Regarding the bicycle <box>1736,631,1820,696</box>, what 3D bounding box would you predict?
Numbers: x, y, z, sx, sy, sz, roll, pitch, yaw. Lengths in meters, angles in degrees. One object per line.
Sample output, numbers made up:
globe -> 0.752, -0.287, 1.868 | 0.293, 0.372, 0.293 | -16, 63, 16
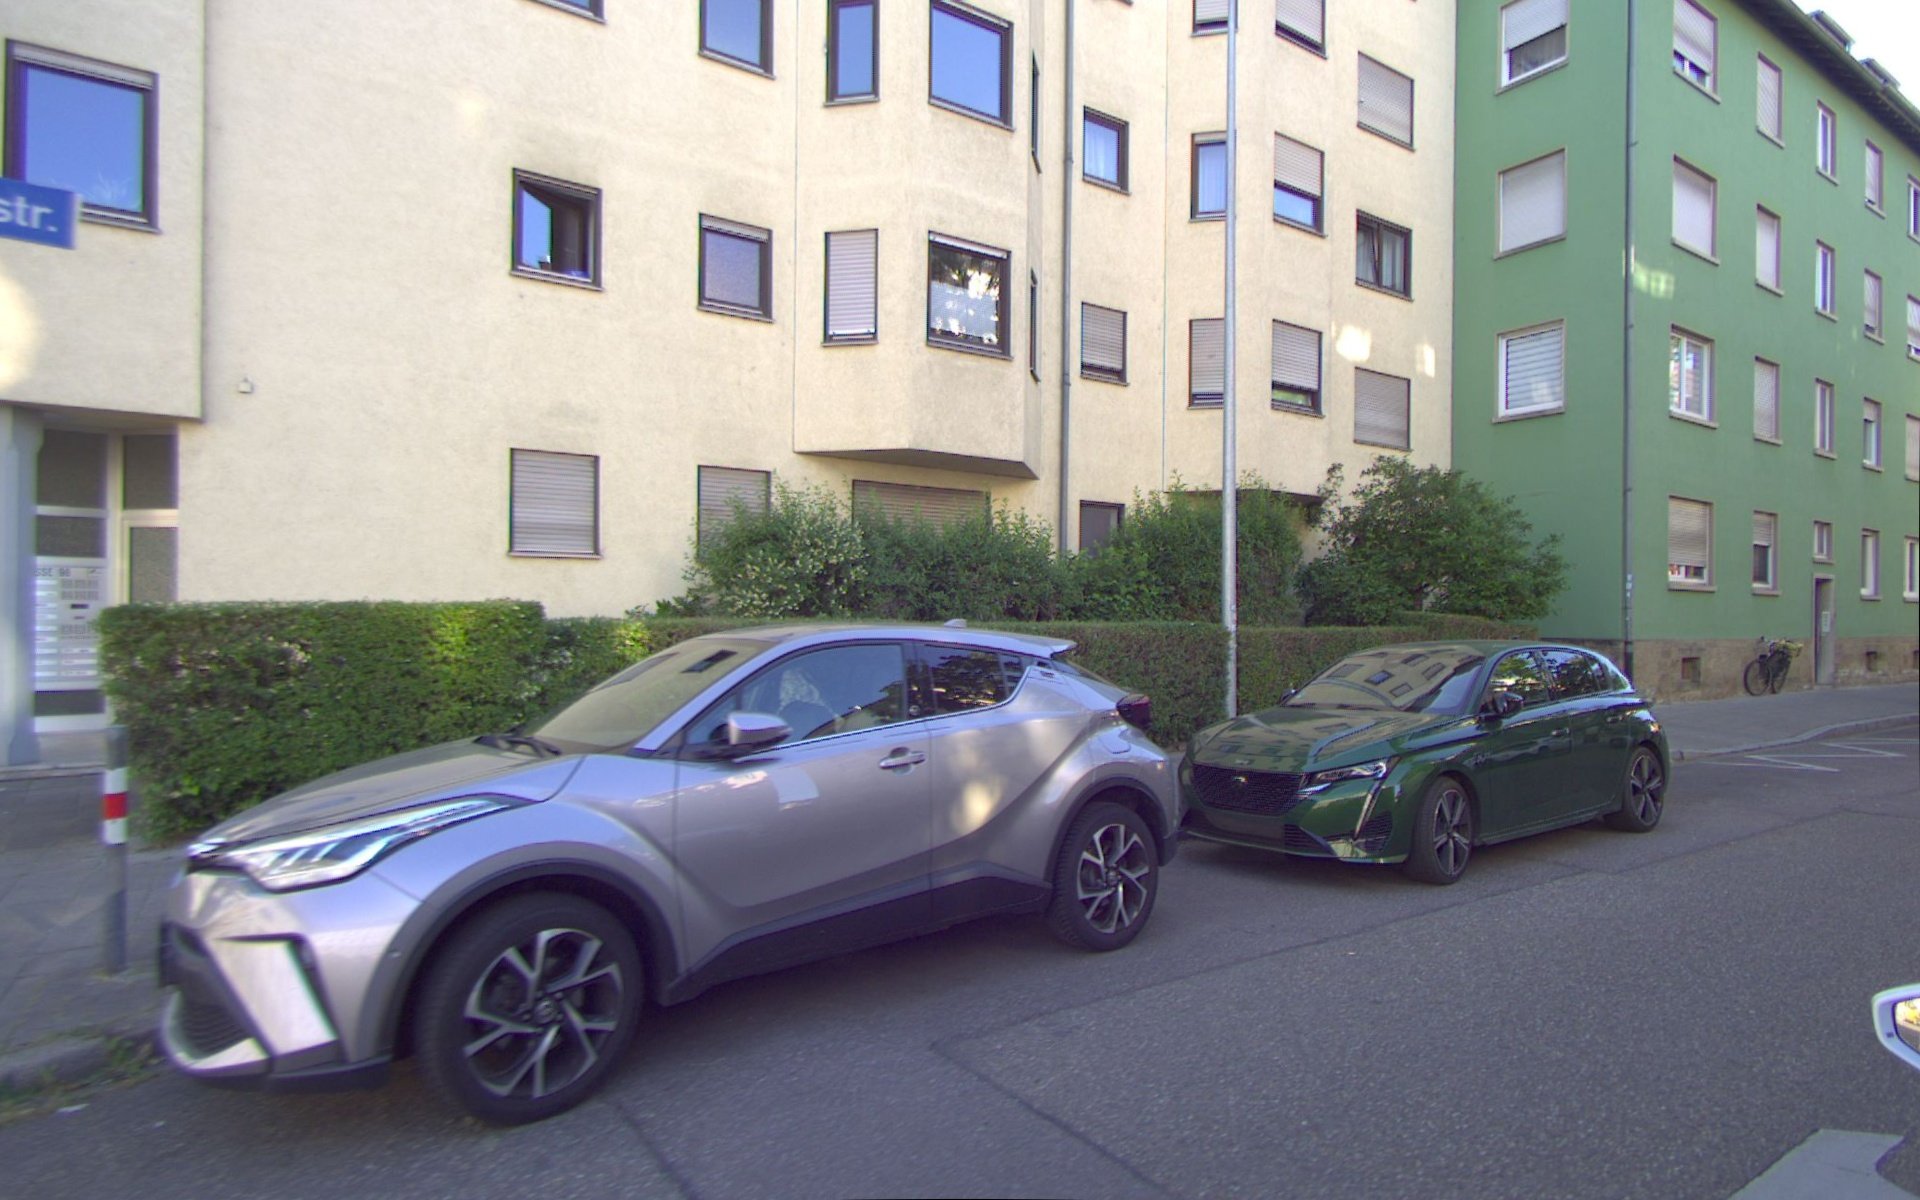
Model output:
bicycle -> 16.126, 1.225, 19.784 | 2.254, 1.194, 0.547 | 1, 2, -33

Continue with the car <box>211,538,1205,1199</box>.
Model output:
car -> -0.895, 0.761, 4.568 | 3.965, 1.681, 1.889 | 2, -3, -39

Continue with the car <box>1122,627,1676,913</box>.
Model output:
car -> 3.276, 0.979, 7.244 | 4.092, 1.516, 1.742 | 1, -3, -34
